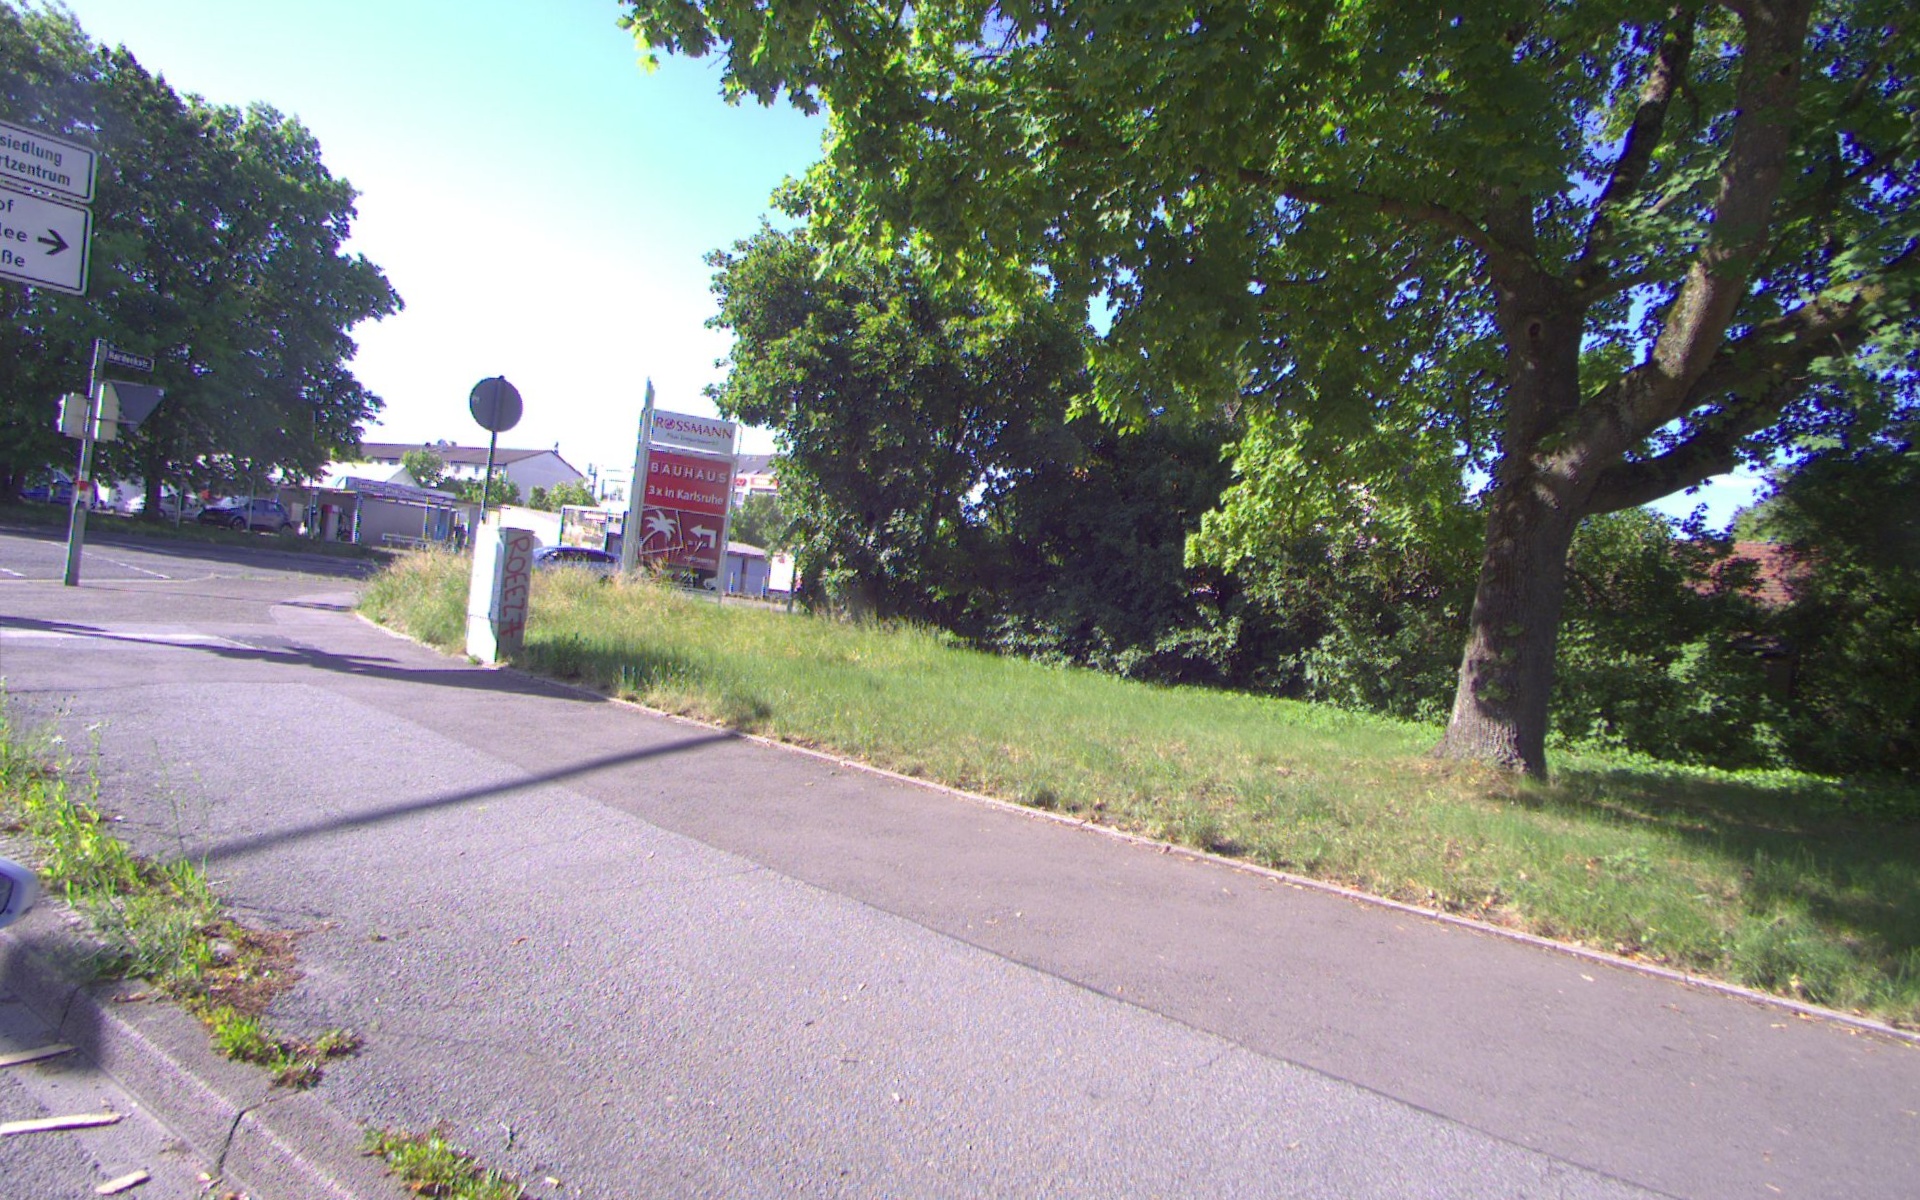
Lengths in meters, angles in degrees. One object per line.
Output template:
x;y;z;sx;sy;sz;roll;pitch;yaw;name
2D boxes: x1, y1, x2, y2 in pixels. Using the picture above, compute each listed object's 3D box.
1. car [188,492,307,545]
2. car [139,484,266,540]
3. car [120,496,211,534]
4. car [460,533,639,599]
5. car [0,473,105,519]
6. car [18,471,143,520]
-30.294;-3.427;42.916;1.712;1.701;4.001;7;0;9;car
-32.327;-3.732;43.072;1.962;1.771;4.001;7;0;9;car
-46.998;-4.993;59.601;1.712;1.701;4.001;7;0;9;car
-13.373;-1.071;33.008;1.973;1.504;4.994;7;0;43;car
-41.988;-4.769;46.155;1.712;1.537;3.902;7;0;9;car
-39.178;-4.627;44.931;1.712;1.537;3.902;7;0;9;car
